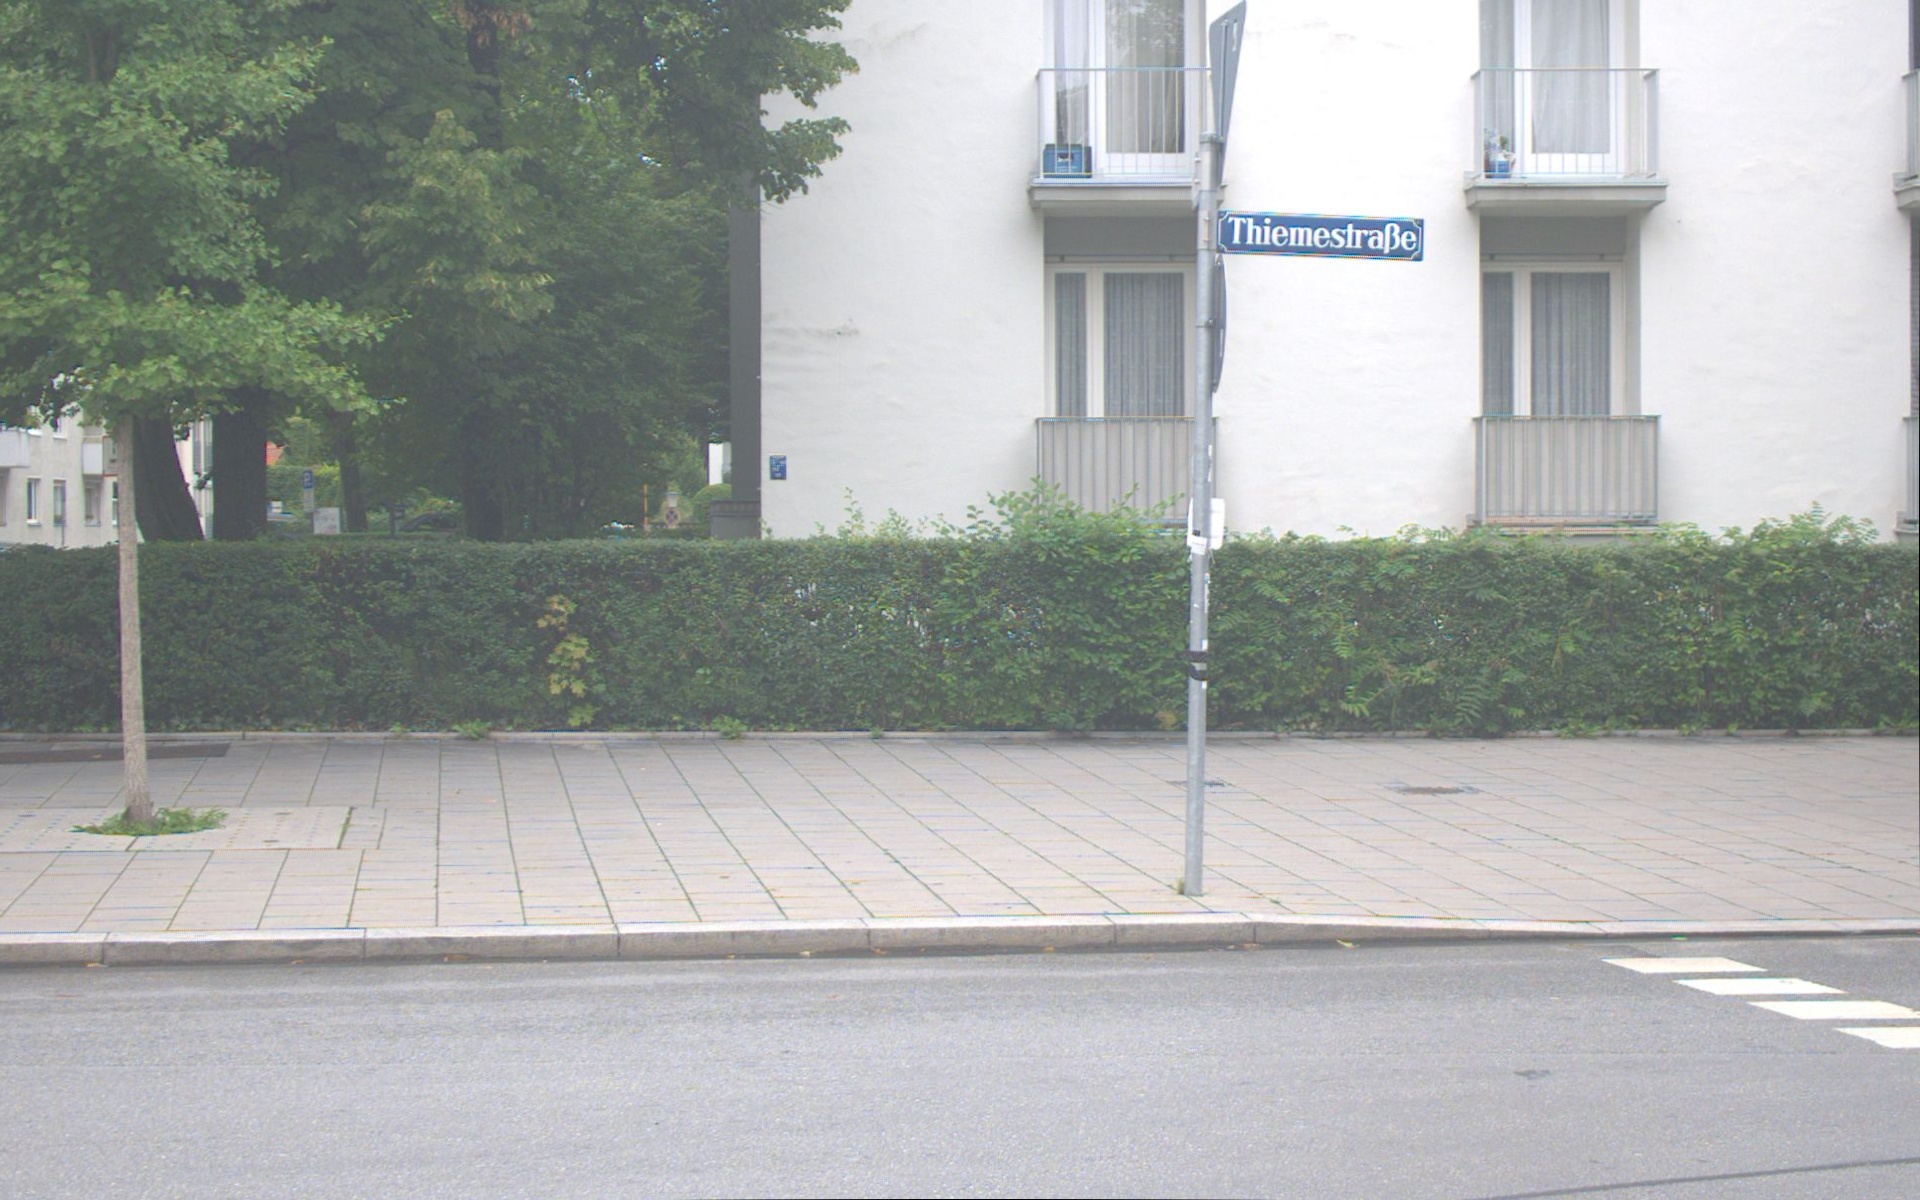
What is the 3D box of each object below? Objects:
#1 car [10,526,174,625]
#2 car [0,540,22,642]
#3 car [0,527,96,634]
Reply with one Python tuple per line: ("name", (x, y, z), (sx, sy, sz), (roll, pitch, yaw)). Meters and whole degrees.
("car", (-15.231, -0.462, 60.511), (1.835, 1.629, 3.820), (-2, 1, 1))
("car", (-15.039, -0.098, 50.236), (1.835, 1.500, 4.116), (-2, 1, -5))
("car", (-15.212, -0.327, 54.843), (1.835, 1.629, 4.116), (-2, 1, -1))
